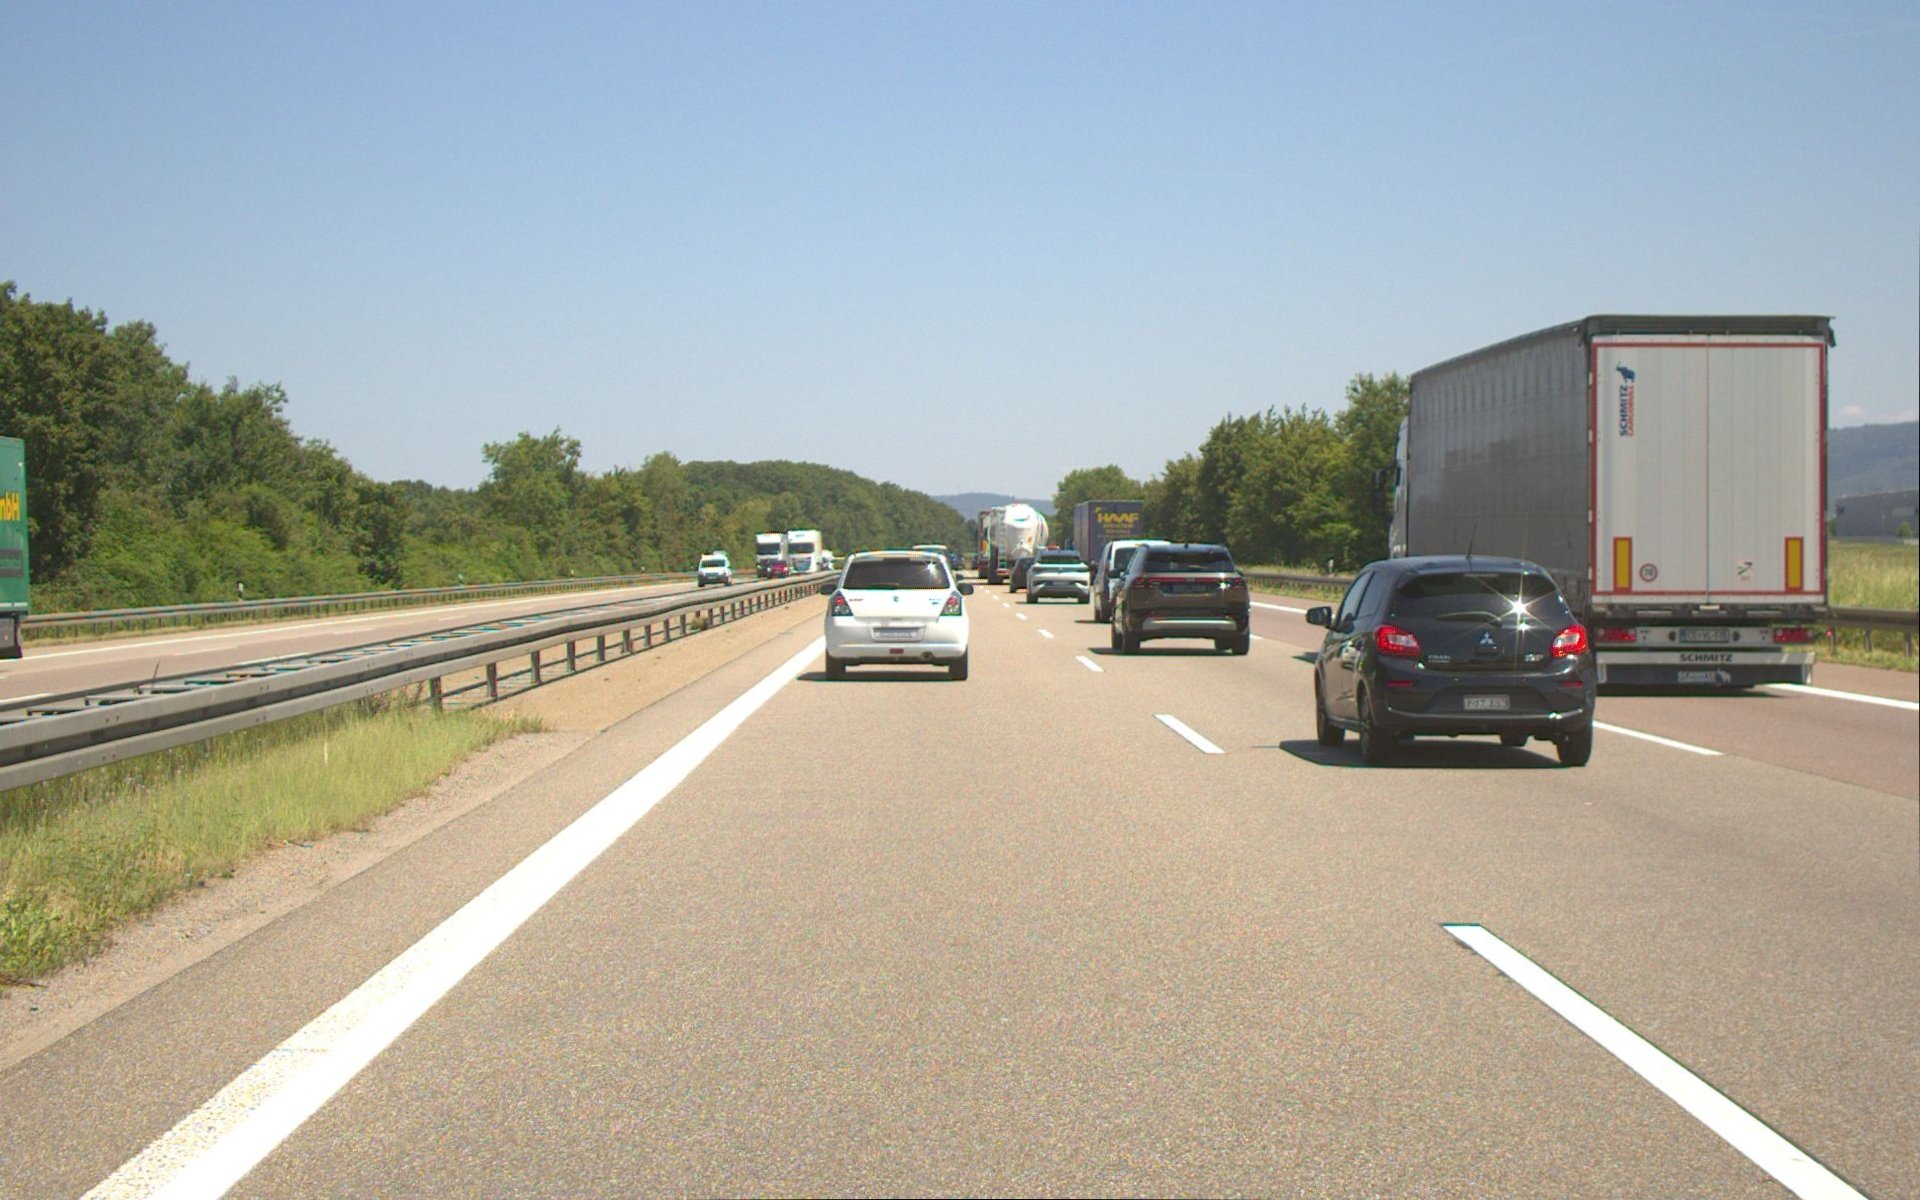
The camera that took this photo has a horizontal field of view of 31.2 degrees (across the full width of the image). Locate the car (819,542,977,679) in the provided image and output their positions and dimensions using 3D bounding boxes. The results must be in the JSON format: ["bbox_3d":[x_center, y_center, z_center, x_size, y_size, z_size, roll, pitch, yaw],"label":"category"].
[{"bbox_3d":[-0.735,0.105,41.299,1.799,1.547,3.610,1,1,-1],"label":"car"}]

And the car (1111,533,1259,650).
[{"bbox_3d":[3.363,-0.147,52.197,1.867,1.669,4.746,1,1,-1],"label":"car"}]

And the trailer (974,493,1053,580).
[{"bbox_3d":[2.527,-3.058,167.830,2.911,4.055,12.420,1,1,-3],"label":"trailer"}]

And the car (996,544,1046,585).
[{"bbox_3d":[2.328,-1.374,132.089,1.850,1.518,3.957,1,1,0],"label":"car"}]

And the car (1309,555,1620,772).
[{"bbox_3d":[3.635,0.419,25.299,1.687,1.468,3.433,1,1,-1],"label":"car"}]

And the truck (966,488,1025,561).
[{"bbox_3d":[2.182,-4.503,207.889,3.394,4.199,12.083,1,1,1],"label":"truck"}]

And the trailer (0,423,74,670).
[{"bbox_3d":[-17.093,-0.778,53.296,2.877,4.030,13.681,-3,1,1],"label":"trailer"}]

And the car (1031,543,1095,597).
[{"bbox_3d":[3.107,-0.912,104.815,1.802,1.597,4.381,1,1,0],"label":"car"}]

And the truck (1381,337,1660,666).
[{"bbox_3d":[7.802,-1.328,48.780,2.810,4.290,7.193,1,1,1],"label":"truck"}]

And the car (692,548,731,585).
[{"bbox_3d":[-14.398,-1.953,199.557,1.788,2.007,4.380,-3,0,1],"label":"car"}]

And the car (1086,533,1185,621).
[{"bbox_3d":[3.859,-0.522,76.309,1.853,1.856,4.702,1,1,-1],"label":"car"}]

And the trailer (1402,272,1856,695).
[{"bbox_3d":[7.770,-1.264,42.351,2.810,4.290,14.254,1,1,0],"label":"trailer"}]

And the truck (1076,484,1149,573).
[{"bbox_3d":[7.433,-3.435,169.157,3.109,4.124,15.511,1,1,1],"label":"truck"}]
